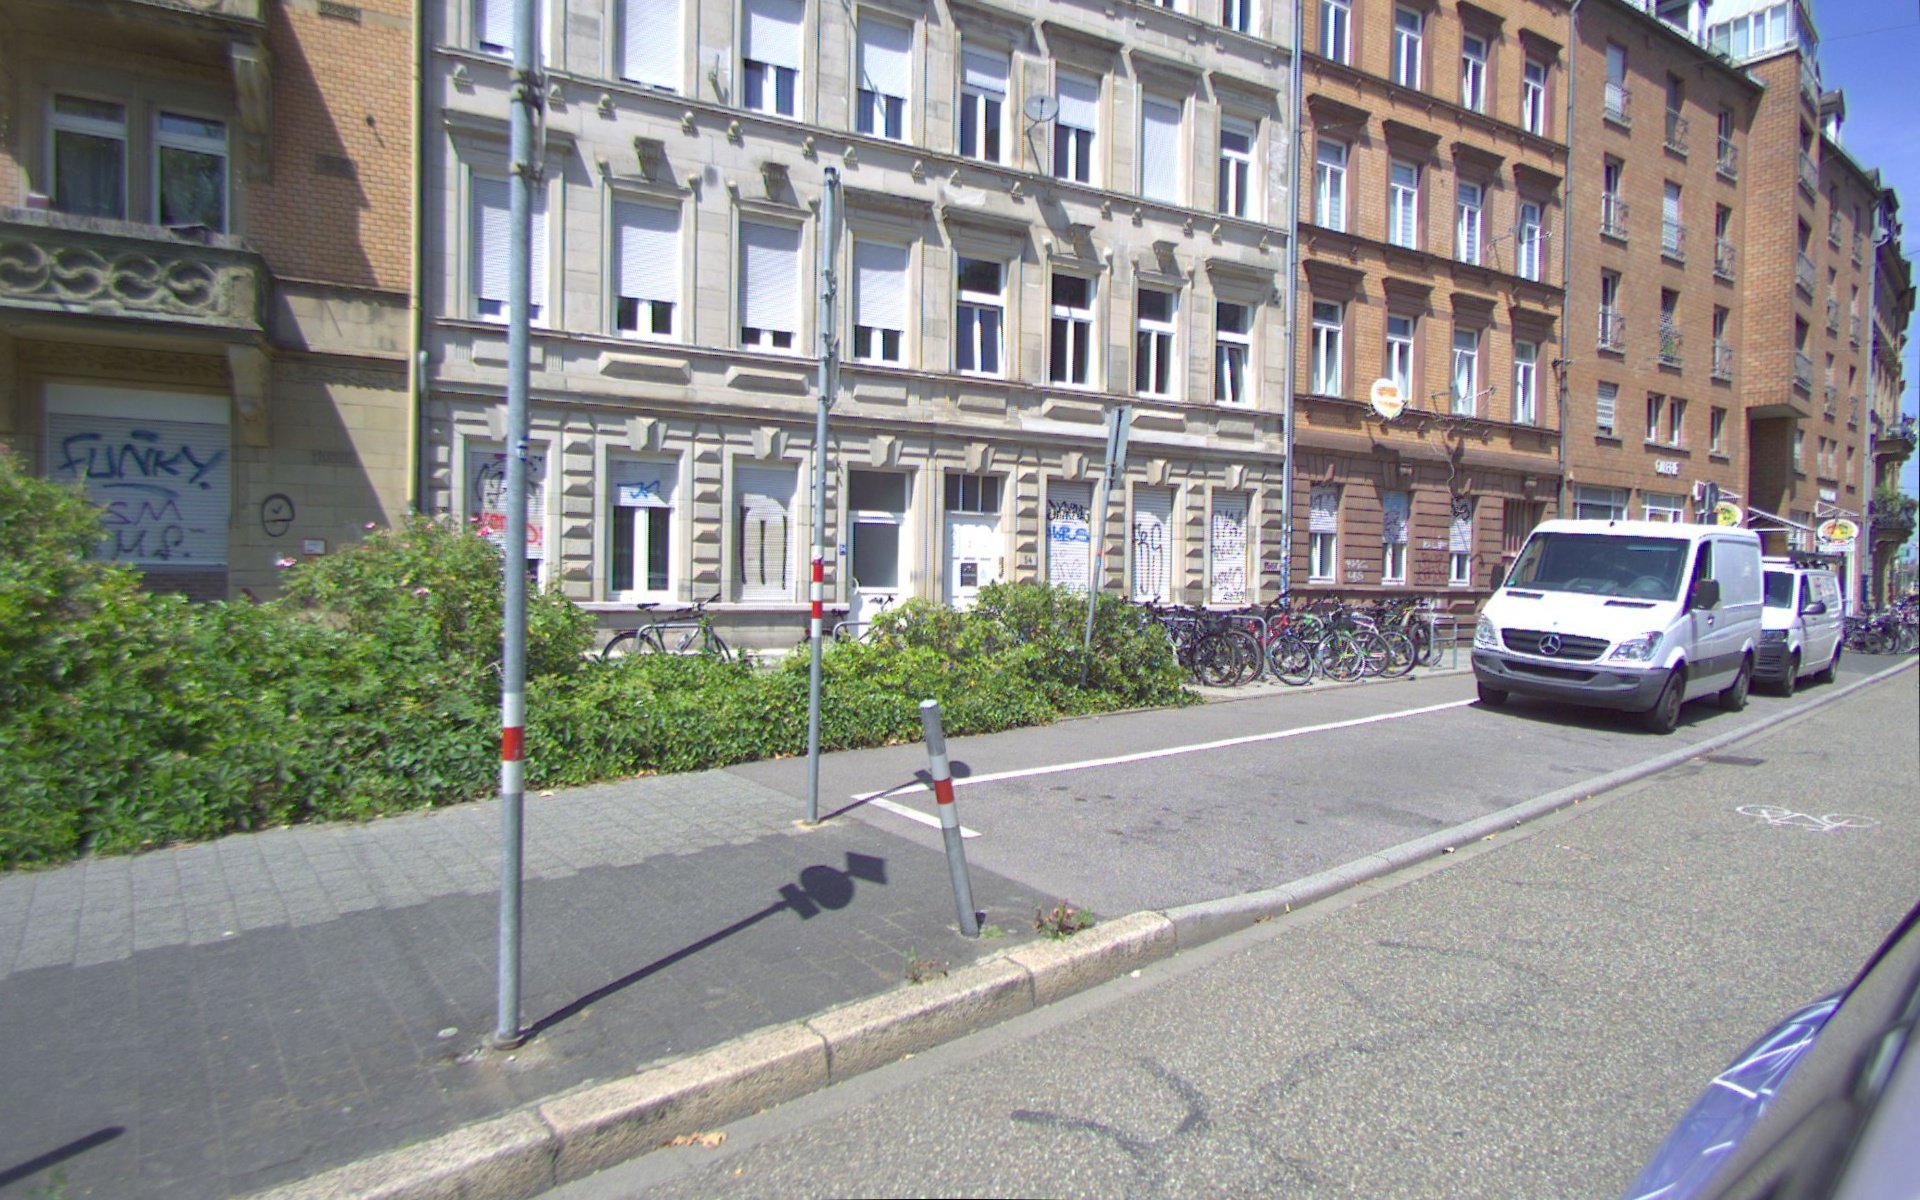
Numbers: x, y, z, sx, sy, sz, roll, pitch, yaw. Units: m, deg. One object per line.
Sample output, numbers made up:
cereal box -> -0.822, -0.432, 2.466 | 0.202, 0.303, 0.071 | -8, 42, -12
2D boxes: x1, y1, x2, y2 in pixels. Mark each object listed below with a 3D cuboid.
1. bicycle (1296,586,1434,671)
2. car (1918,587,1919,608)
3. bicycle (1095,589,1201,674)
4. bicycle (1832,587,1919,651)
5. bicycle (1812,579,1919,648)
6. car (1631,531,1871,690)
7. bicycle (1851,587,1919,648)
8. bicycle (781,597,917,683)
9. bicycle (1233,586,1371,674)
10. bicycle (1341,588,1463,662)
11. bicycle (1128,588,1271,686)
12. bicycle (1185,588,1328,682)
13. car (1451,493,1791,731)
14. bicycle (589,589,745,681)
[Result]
bicycle -> 6.021, 0.391, 15.138 | 0.484, 1.195, 1.918 | 0, 0, -40
car -> 80.517, -0.201, 83.455 | 1.991, 1.672, 3.942 | 0, 0, 40
bicycle -> 2.827, 0.434, 15.063 | 1.887, 1.195, 0.492 | -1, 0, -41
bicycle -> 22.734, 0.438, 24.804 | 0.651, 1.525, 1.942 | 0, 0, -29
bicycle -> 21.235, 0.295, 23.639 | 0.651, 1.525, 1.942 | 0, 0, -29
car -> 12.914, 0.071, 16.387 | 5.180, 2.161, 1.998 | -1, 4, -41
bicycle -> 23.845, 0.425, 25.529 | 0.651, 1.525, 1.942 | 0, 0, -29
bicycle -> -1.411, 0.489, 13.063 | 1.736, 1.035, 0.457 | -1, 0, -34
bicycle -> 4.913, 0.399, 14.654 | 0.484, 1.195, 1.918 | 0, 0, -40
bicycle -> 7.314, 0.402, 16.753 | 1.881, 1.195, 0.494 | 0, 0, -11
bicycle -> 3.092, 0.450, 13.238 | 0.484, 1.195, 1.918 | 0, 0, -40
bicycle -> 3.980, 0.441, 13.724 | 0.484, 1.195, 1.918 | 0, 0, -40
car -> 8.300, 0.028, 12.480 | 5.312, 2.358, 1.998 | -1, 4, -41
bicycle -> -3.471, 0.385, 12.079 | 1.736, 1.035, 0.457 | -1, 0, -34
